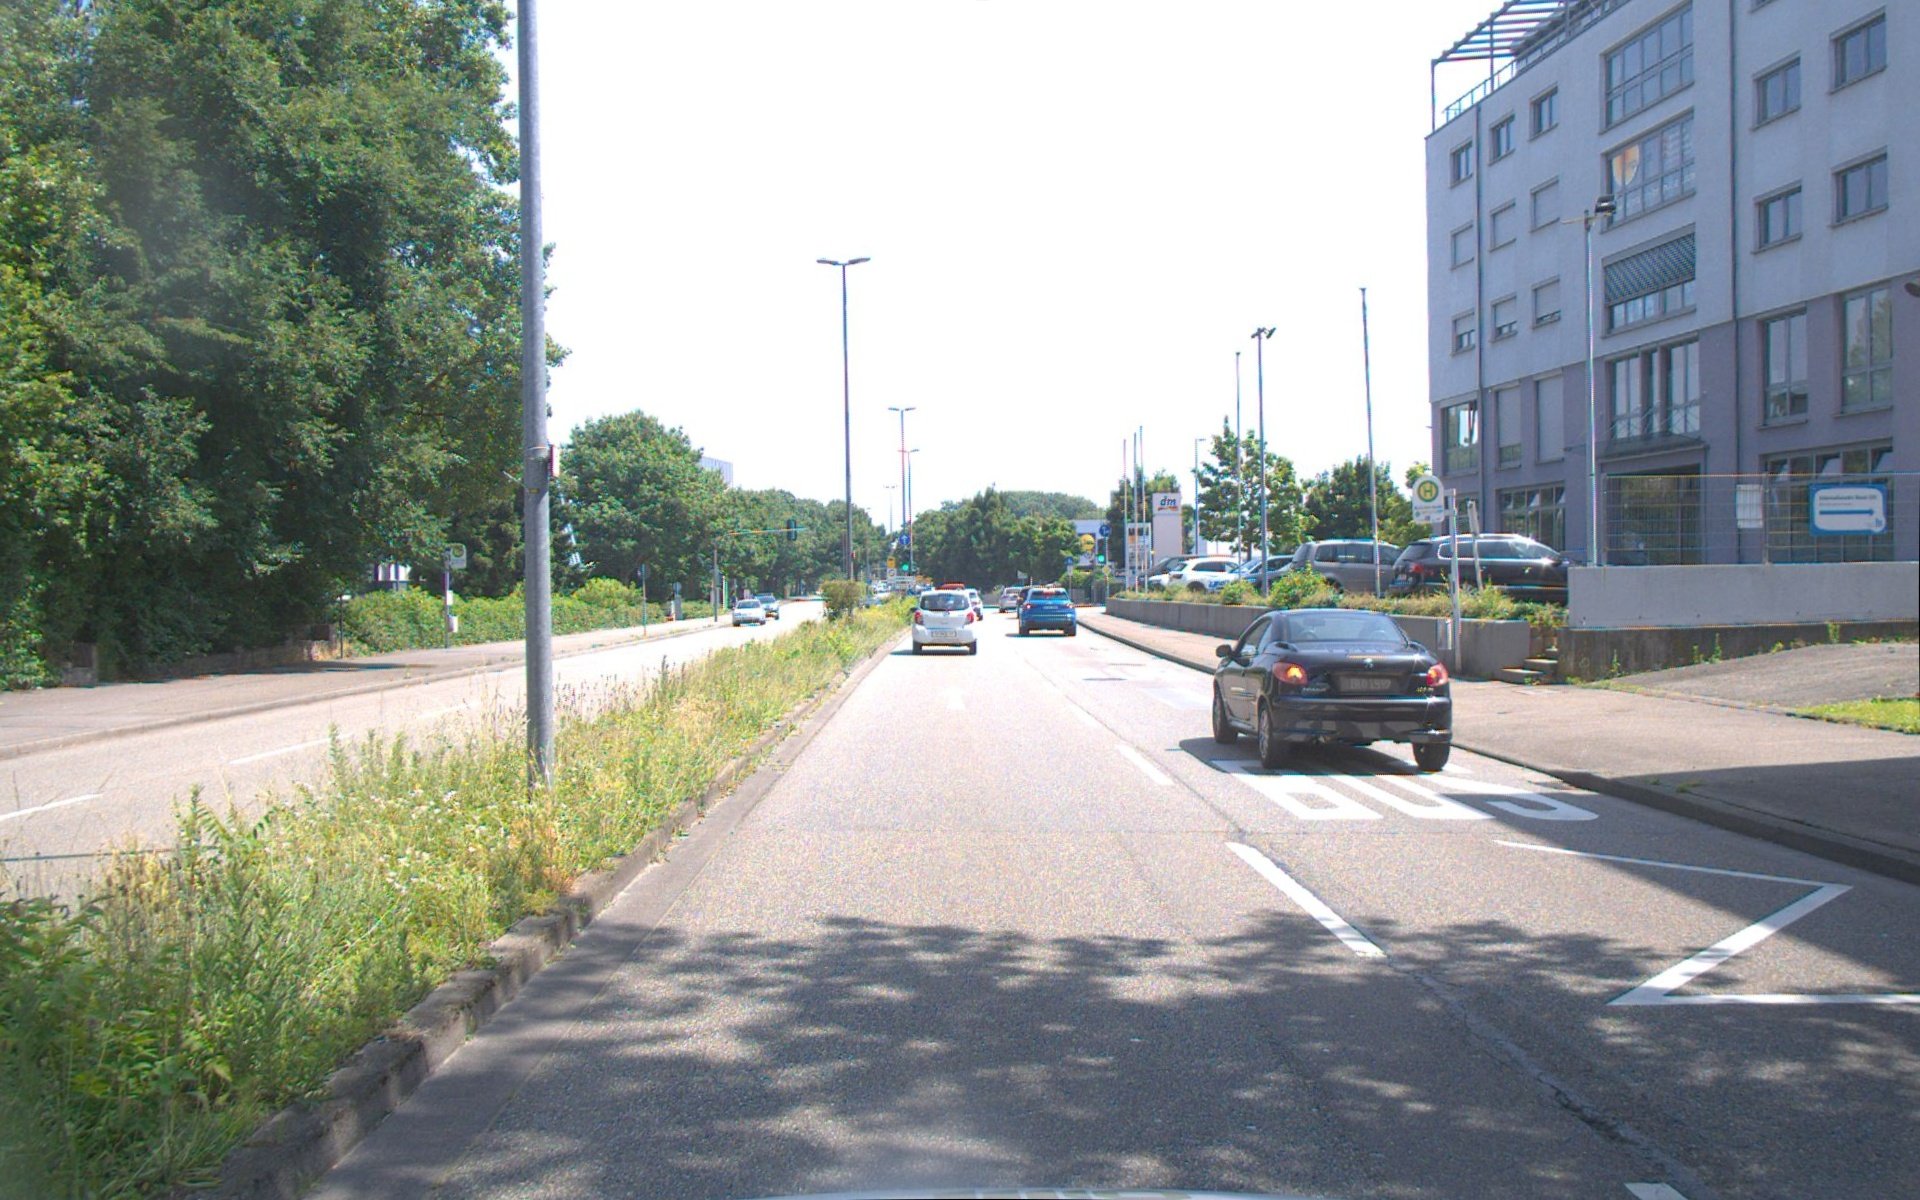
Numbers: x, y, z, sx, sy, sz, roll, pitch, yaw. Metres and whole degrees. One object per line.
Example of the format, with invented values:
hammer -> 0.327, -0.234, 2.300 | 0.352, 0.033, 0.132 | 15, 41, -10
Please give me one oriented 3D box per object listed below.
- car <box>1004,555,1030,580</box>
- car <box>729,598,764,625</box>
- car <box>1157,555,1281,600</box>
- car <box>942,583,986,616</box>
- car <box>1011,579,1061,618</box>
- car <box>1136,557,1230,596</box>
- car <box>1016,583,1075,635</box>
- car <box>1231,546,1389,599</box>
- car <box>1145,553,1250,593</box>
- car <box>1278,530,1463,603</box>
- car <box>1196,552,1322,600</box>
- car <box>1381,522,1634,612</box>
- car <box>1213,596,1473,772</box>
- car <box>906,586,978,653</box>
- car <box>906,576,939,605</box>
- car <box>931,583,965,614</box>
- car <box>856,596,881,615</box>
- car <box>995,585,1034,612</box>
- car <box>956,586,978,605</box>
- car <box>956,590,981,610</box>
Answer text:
car -> 4.946, -2.817, 143.686 | 1.735, 2.048, 3.988 | -2, 1, -4
car -> -11.937, 0.642, 92.728 | 1.702, 1.437, 4.367 | -1, 0, -5
car -> 10.008, -0.871, 64.069 | 4.443, 1.571, 2.000 | -2, 0, -1
car -> 0.165, -0.025, 78.003 | 1.953, 1.467, 3.999 | -1, 0, -2
car -> 3.391, -0.098, 74.907 | 1.953, 1.668, 3.999 | -2, 0, -1
car -> 10.120, -1.062, 75.351 | 3.907, 1.571, 1.999 | -2, 0, -3
car -> 2.840, 0.260, 55.430 | 1.790, 1.607, 3.606 | -1, 1, 0
car -> 10.401, -0.818, 49.348 | 4.234, 1.392, 1.999 | -2, 0, -3
car -> 10.404, -1.176, 72.643 | 4.260, 1.571, 1.999 | -2, 0, -3
car -> 10.418, -0.832, 42.181 | 4.142, 1.676, 1.999 | -2, 0, -2
car -> 10.109, -0.805, 55.907 | 3.868, 1.477, 1.753 | -2, 0, -23
car -> 11.005, -0.661, 33.458 | 4.408, 1.610, 1.999 | -2, 0, -2
car -> 3.481, 0.700, 15.644 | 1.594, 1.387, 3.605 | 1, 1, 0
car -> -0.423, 0.456, 41.310 | 1.712, 1.546, 3.746 | 0, 1, 0
car -> -2.386, -0.613, 104.263 | 1.784, 1.690, 3.996 | -1, 2, -5
car -> -0.723, -0.102, 98.229 | 1.741, 1.770, 3.997 | -1, 0, -4
car -> -6.380, 0.365, 114.497 | 1.543, 1.291, 3.725 | -1, 0, -6
car -> 3.128, -0.098, 95.539 | 1.953, 1.445, 3.999 | -2, 0, -1
car -> 0.572, -0.419, 137.408 | 1.755, 1.503, 3.846 | -1, 0, -1
car -> 0.676, -0.013, 137.925 | 1.953, 1.534, 3.999 | -2, 0, -2
